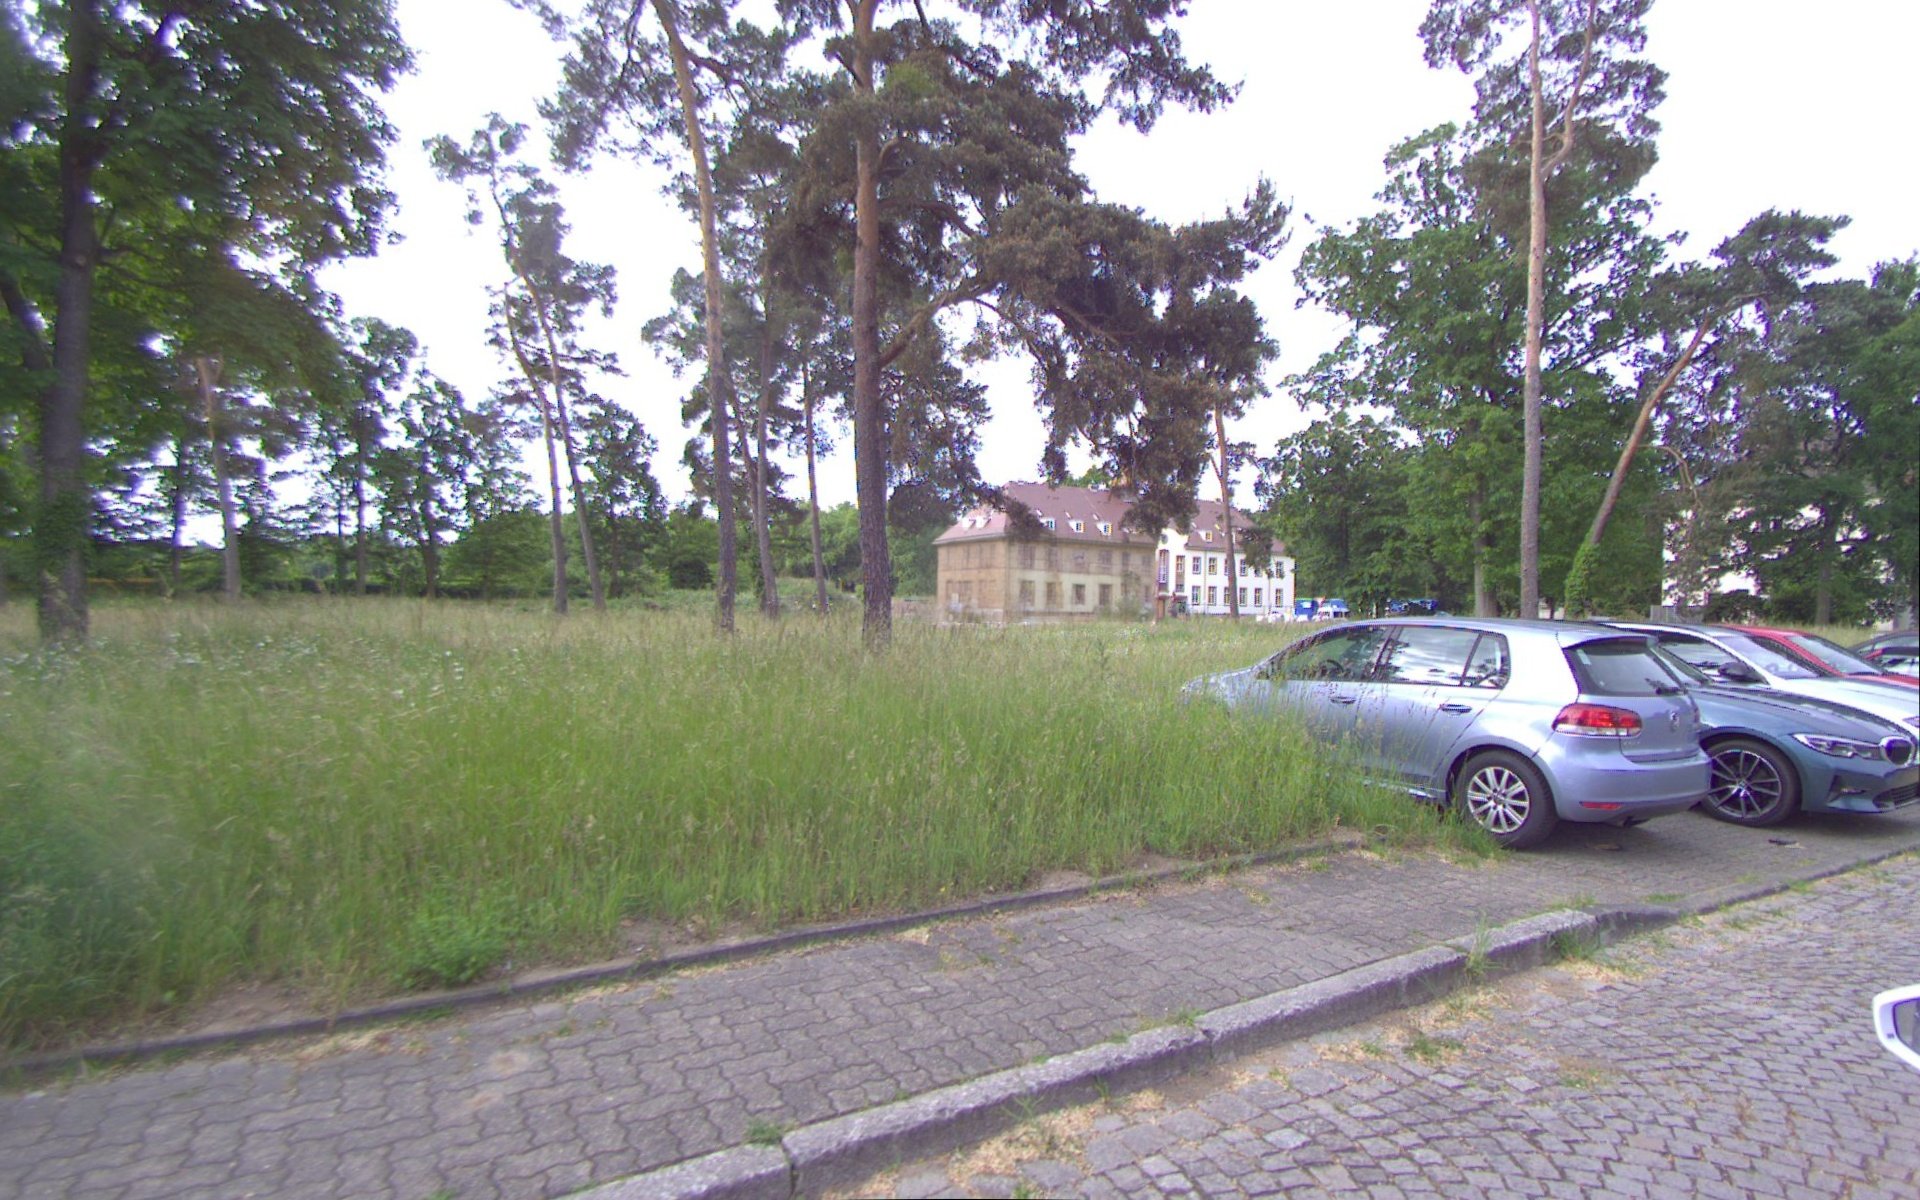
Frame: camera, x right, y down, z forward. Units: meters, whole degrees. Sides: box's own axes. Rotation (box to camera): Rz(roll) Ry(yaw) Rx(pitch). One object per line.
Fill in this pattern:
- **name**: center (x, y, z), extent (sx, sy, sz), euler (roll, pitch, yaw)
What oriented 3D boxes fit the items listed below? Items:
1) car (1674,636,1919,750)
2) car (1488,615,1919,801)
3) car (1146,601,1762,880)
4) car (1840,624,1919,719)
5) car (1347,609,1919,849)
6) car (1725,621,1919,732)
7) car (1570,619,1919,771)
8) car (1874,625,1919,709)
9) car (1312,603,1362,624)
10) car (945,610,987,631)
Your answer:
- **car**: center (12.080, 1.180, 13.114), extent (1.809, 1.283, 4.147), euler (1, 0, -30)
- **car**: center (8.165, 0.966, 10.463), extent (1.915, 1.528, 4.348), euler (1, 0, -33)
- **car**: center (3.521, 0.812, 7.894), extent (1.884, 1.563, 3.965), euler (1, 0, -32)
- **car**: center (16.804, 1.182, 15.751), extent (1.842, 1.511, 4.147), euler (1, 0, -29)
- **car**: center (5.943, 0.905, 9.098), extent (1.916, 1.568, 4.223), euler (1, 0, -34)
- **car**: center (14.124, 1.119, 14.817), extent (1.824, 1.502, 4.146), euler (1, 0, -30)
- **car**: center (9.970, 1.021, 12.079), extent (1.844, 1.496, 4.144), euler (1, 0, -31)
- **car**: center (19.054, 1.253, 17.680), extent (1.824, 1.517, 4.048), euler (1, 0, -30)
- **car**: center (39.005, 1.410, 103.991), extent (5.167, 2.040, 1.985), euler (2, -1, -29)
- **car**: center (0.639, 2.263, 111.138), extent (1.983, 2.229, 4.982), euler (1, 0, -38)
